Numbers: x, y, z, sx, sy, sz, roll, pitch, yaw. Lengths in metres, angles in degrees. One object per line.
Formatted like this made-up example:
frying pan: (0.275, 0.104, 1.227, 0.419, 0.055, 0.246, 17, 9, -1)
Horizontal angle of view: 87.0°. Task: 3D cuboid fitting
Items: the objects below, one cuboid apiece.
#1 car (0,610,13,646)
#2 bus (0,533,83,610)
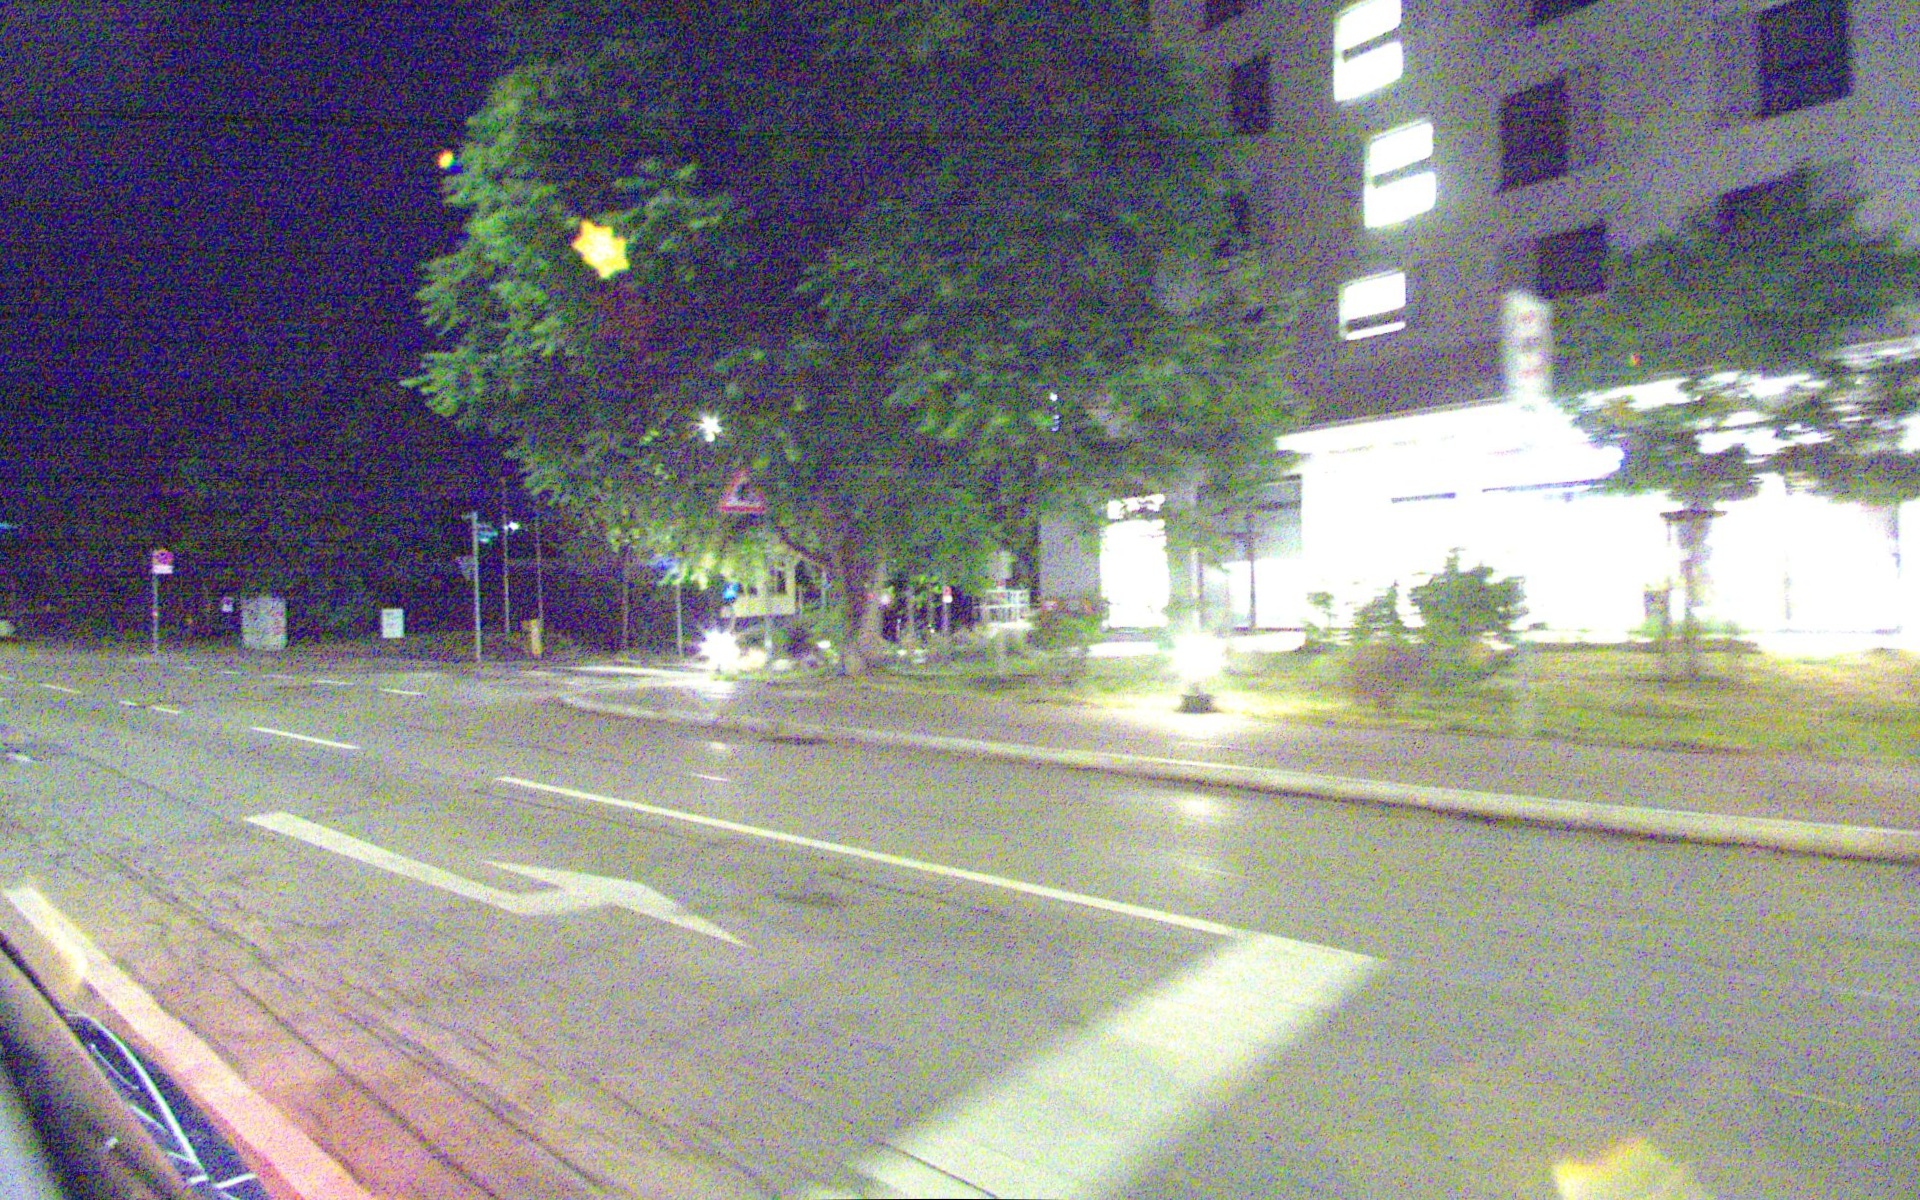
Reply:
car: (-45.772, 1.314, 47.279, 3.997, 1.604, 1.783, -1, 0, 40)
bus: (-91.683, -2.548, 99.656, 14.774, 6.990, 6.057, -1, -1, 41)
